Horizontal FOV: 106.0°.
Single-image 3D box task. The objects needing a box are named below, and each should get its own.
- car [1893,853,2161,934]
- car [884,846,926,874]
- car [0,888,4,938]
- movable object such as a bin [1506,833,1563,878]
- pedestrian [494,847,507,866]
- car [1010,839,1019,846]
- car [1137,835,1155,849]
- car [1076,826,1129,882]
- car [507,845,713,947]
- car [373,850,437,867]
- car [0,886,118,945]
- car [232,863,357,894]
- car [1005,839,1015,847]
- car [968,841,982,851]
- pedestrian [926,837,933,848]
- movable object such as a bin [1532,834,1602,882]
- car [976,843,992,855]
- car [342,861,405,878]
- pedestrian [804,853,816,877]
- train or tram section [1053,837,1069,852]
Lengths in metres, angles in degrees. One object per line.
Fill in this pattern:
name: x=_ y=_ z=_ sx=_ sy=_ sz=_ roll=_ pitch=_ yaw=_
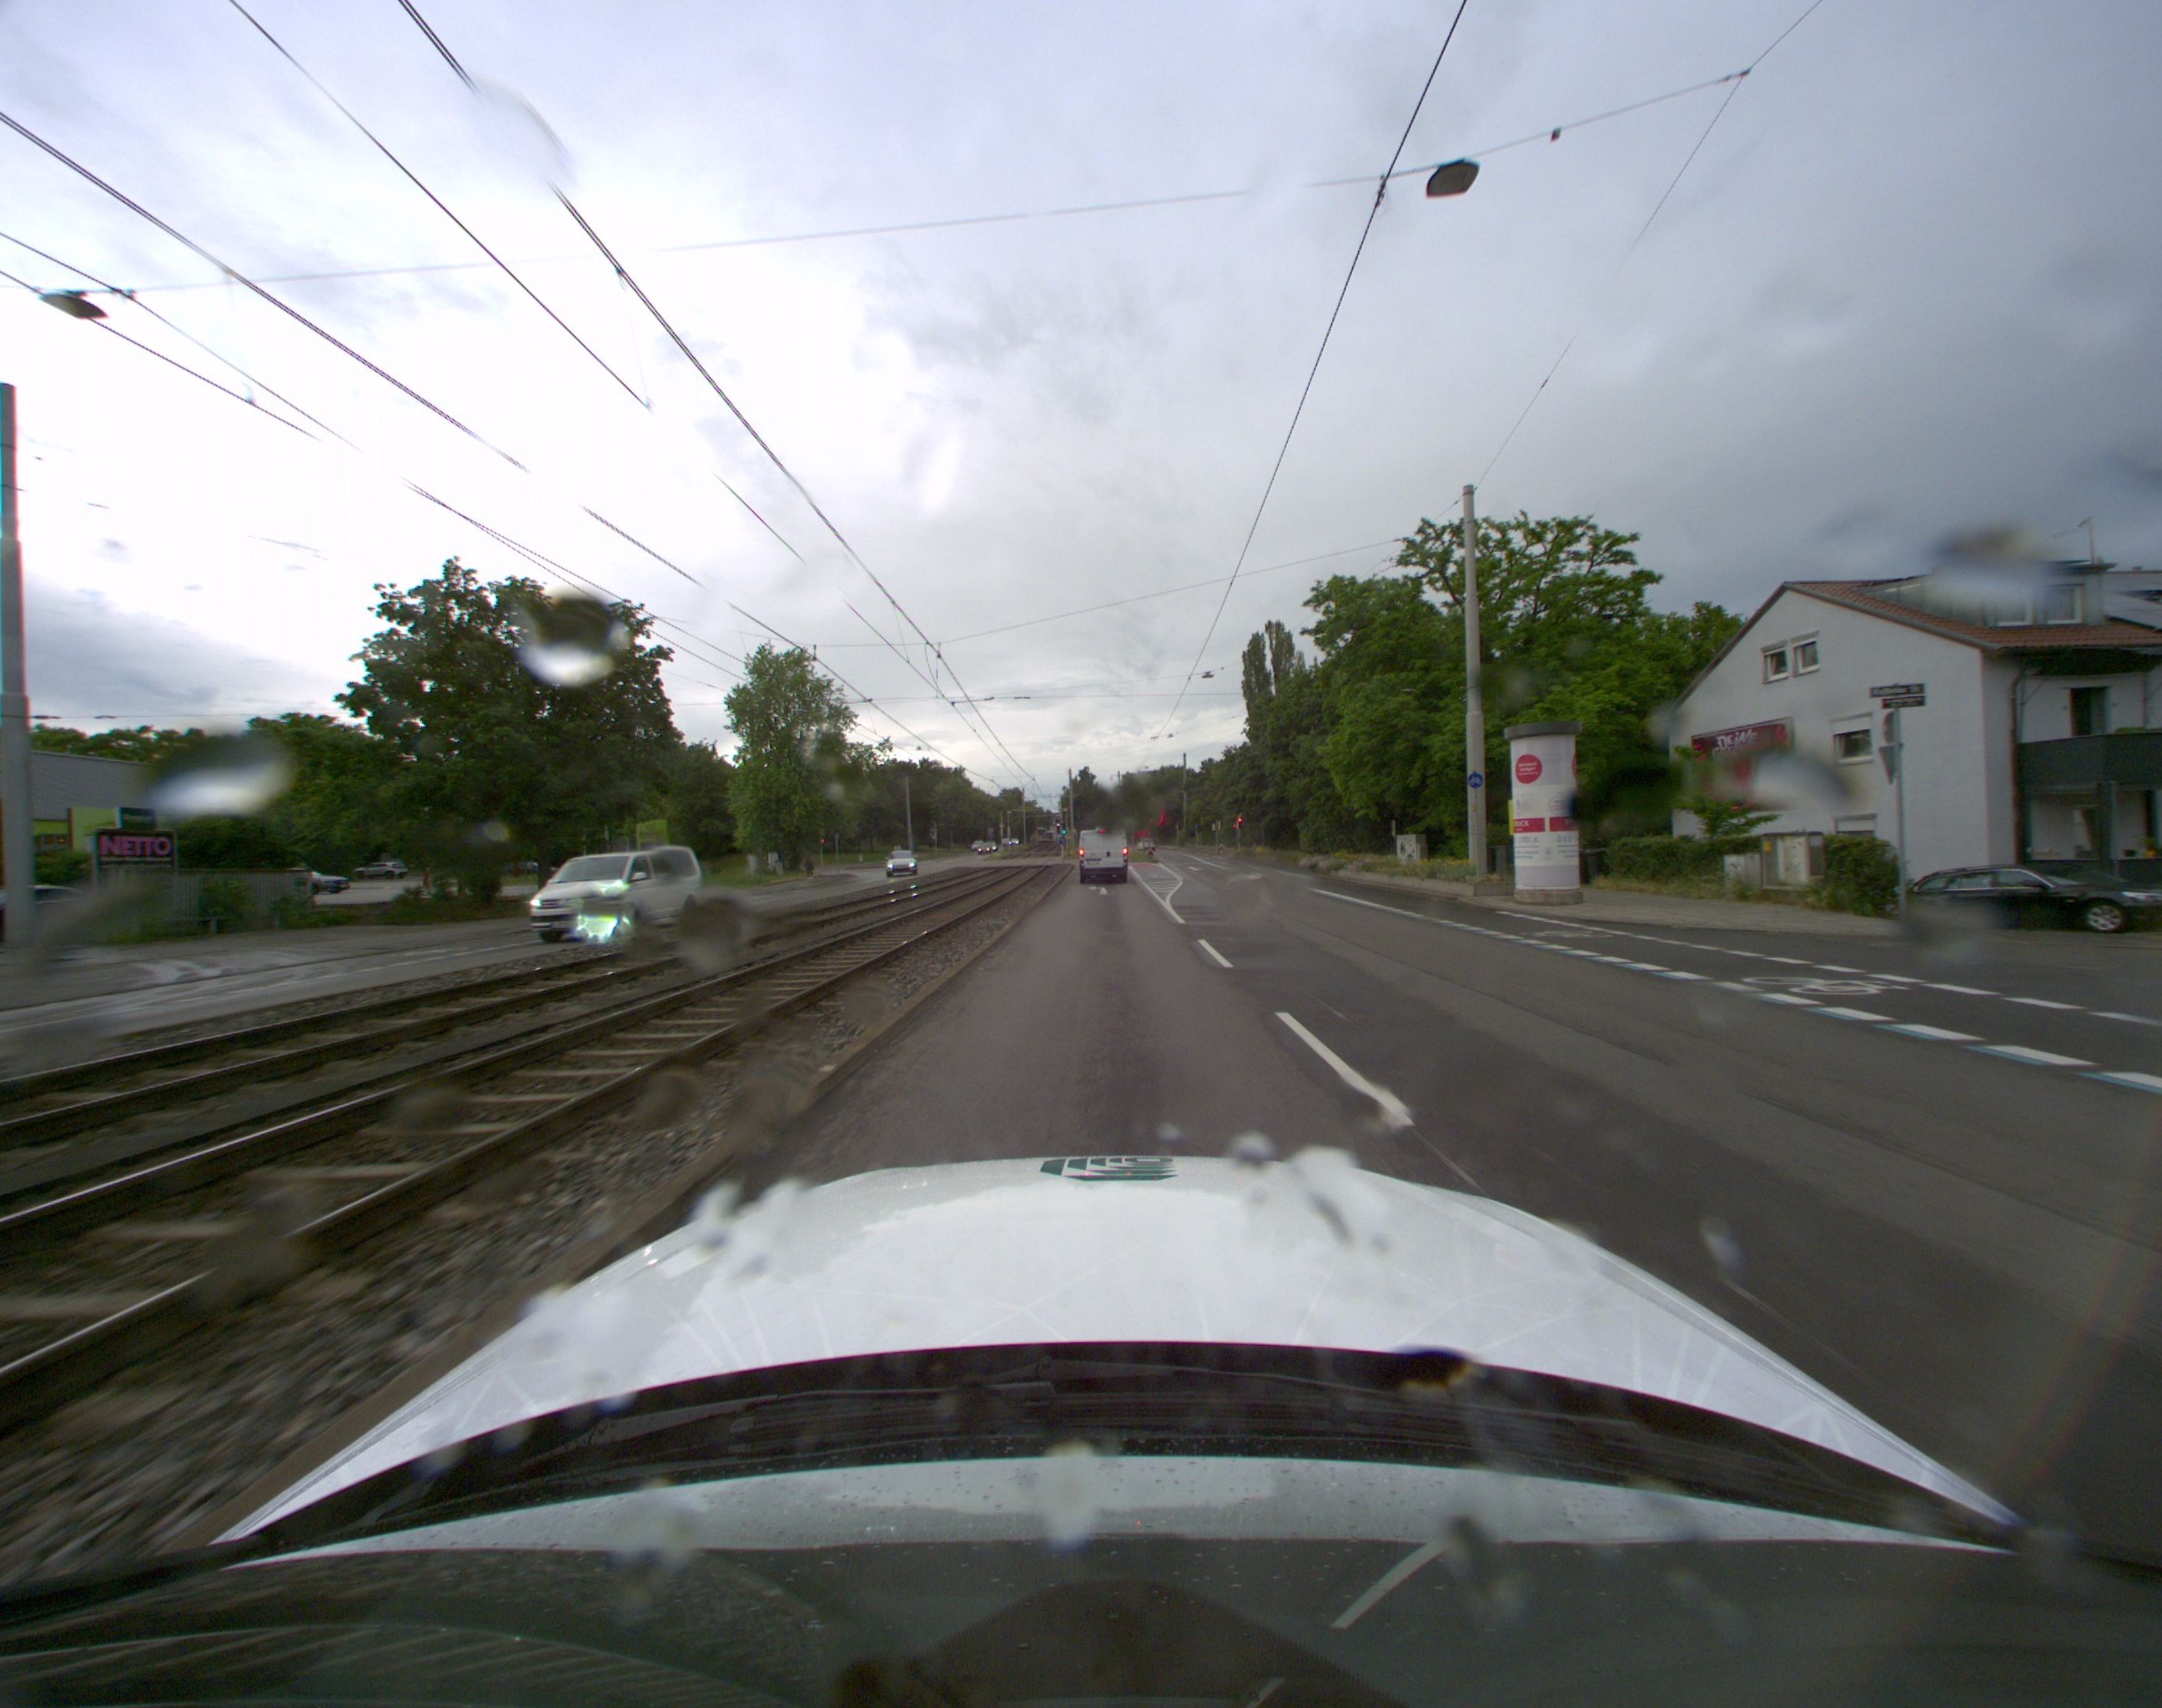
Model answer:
car: x=19.656 y=0.893 z=16.474 sx=1.746 sy=1.391 sz=4.727 roll=-1 pitch=-6 yaw=2
car: x=-11.800 y=0.366 z=54.920 sx=1.990 sy=1.649 sz=4.753 roll=-4 pitch=1 yaw=-4
car: x=-32.000 y=1.685 z=21.645 sx=1.685 sy=1.456 sz=3.990 roll=0 pitch=-1 yaw=-7
movable object such as a bin: x=14.578 y=0.064 z=26.227 sx=1.181 sy=1.418 sz=1.134 roll=0 pitch=-1 yaw=-1
pedestrian: x=-49.393 y=0.199 z=69.281 sx=0.672 sy=1.602 sz=0.608 roll=-1 pitch=-1 yaw=7
car: x=-14.263 y=-2.574 z=174.559 sx=1.596 sy=1.401 sz=3.790 roll=-1 pitch=2 yaw=-1
car: x=7.699 y=-1.427 z=96.530 sx=1.699 sy=1.521 sz=3.789 roll=-1 pitch=2 yaw=-3
car: x=0.893 y=-0.041 z=36.318 sx=2.139 sy=2.283 sz=5.062 roll=-1 pitch=0 yaw=0
car: x=-11.187 y=0.871 z=19.909 sx=1.988 sy=2.013 sz=5.058 roll=-4 pitch=1 yaw=-1
car: x=-73.724 y=0.512 z=88.856 sx=5.122 sy=1.805 sz=1.996 roll=-1 pitch=-1 yaw=-5
car: x=-29.178 y=1.665 z=22.056 sx=1.685 sy=1.456 sz=3.990 roll=0 pitch=-1 yaw=-7
car: x=-40.188 y=1.232 z=41.686 sx=4.360 sy=1.345 sz=1.771 roll=-2 pitch=0 yaw=-7
car: x=-13.215 y=-1.977 z=151.415 sx=1.596 sy=1.401 sz=3.790 roll=-1 pitch=2 yaw=-1
car: x=-16.708 y=-1.306 z=128.697 sx=1.714 sy=1.553 sz=3.861 roll=0 pitch=2 yaw=-1
pedestrian: x=-22.287 y=-1.756 z=119.807 sx=1.012 sy=1.600 sz=1.038 roll=-2 pitch=1 yaw=-6
movable object such as a bin: x=14.710 y=0.118 z=24.699 sx=1.307 sy=1.418 sz=1.299 roll=0 pitch=-1 yaw=-1
car: x=-12.685 y=-0.671 z=106.491 sx=1.596 sy=1.401 sz=3.790 roll=-1 pitch=2 yaw=-1
car: x=-67.504 y=1.430 z=77.749 sx=4.191 sy=1.533 sz=1.836 roll=-1 pitch=0 yaw=-12
pedestrian: x=-17.416 y=0.718 z=52.344 sx=0.589 sy=1.532 sz=0.668 roll=0 pitch=-1 yaw=0
train or tram section: x=-5.528 y=-2.658 z=228.761 sx=4.047 sy=3.894 sz=15.037 roll=-1 pitch=-1 yaw=0
